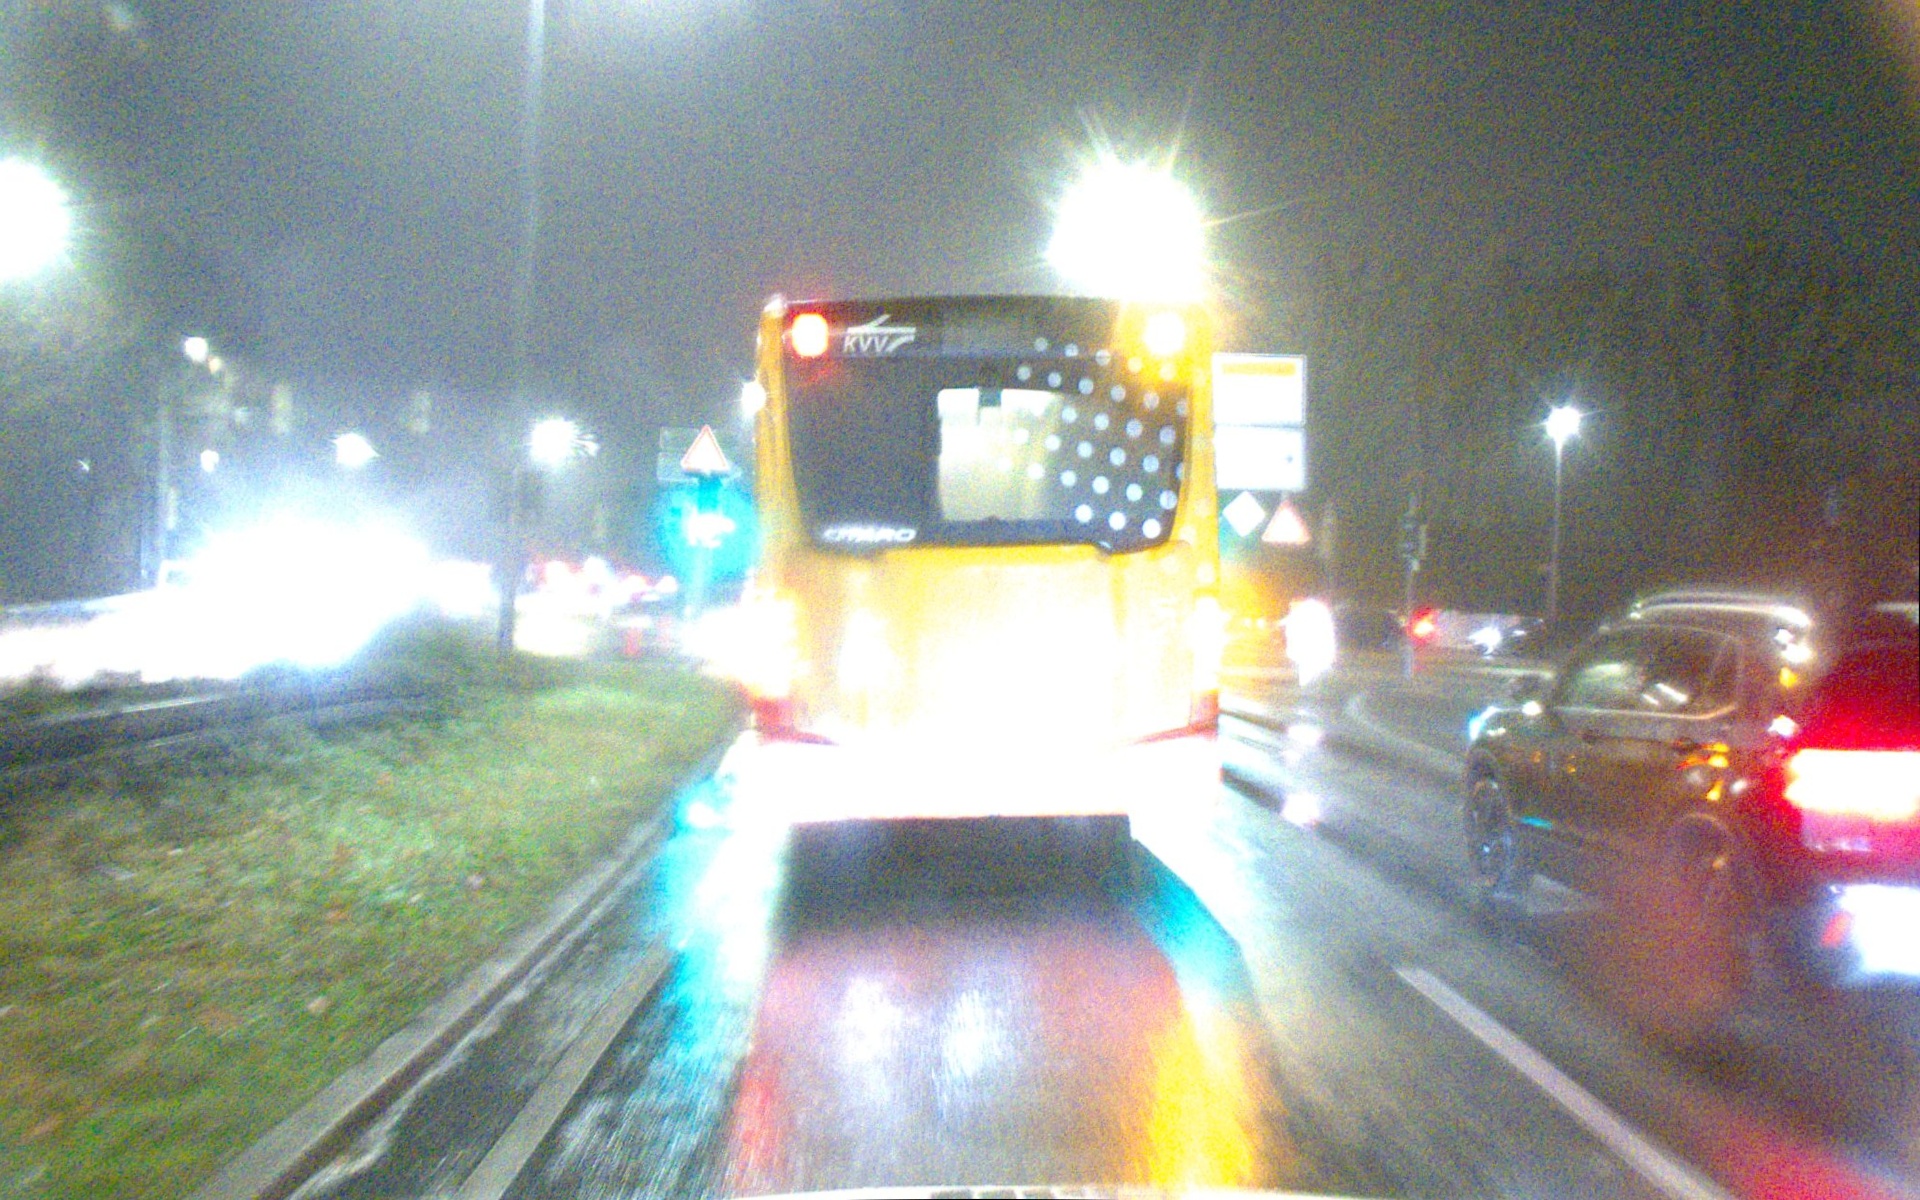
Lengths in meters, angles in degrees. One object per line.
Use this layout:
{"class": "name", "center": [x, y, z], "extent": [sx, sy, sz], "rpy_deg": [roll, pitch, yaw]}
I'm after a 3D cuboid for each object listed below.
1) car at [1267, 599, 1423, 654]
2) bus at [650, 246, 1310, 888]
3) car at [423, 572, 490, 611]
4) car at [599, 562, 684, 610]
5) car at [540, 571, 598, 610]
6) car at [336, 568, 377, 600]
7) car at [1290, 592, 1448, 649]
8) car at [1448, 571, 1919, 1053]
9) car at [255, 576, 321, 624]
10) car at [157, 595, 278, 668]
{"class": "car", "center": [10.989, 0.751, 47.347], "extent": [3.964, 1.369, 1.745], "rpy_deg": [2, 1, -6]}
{"class": "bus", "center": [-0.166, -0.236, 12.870], "extent": [3.220, 3.103, 9.538], "rpy_deg": [0, 1, -4]}
{"class": "car", "center": [-24.551, -0.446, 80.641], "extent": [2.070, 1.672, 3.687], "rpy_deg": [6, -2, -33]}
{"class": "car", "center": [-11.676, -0.516, 60.499], "extent": [1.797, 1.646, 3.959], "rpy_deg": [2, -1, -30]}
{"class": "car", "center": [-17.376, -0.413, 73.404], "extent": [1.792, 1.646, 3.970], "rpy_deg": [2, -1, -24]}
{"class": "car", "center": [-34.716, -0.898, 95.075], "extent": [1.966, 1.751, 3.972], "rpy_deg": [2, -1, -23]}
{"class": "car", "center": [12.786, 0.632, 51.822], "extent": [4.396, 1.545, 1.855], "rpy_deg": [2, 1, -6]}
{"class": "car", "center": [3.614, 0.730, 7.357], "extent": [1.643, 1.548, 3.959], "rpy_deg": [2, -1, -1]}
{"class": "car", "center": [-21.914, -0.033, 54.048], "extent": [1.763, 1.482, 4.552], "rpy_deg": [-1, 1, -19]}
{"class": "car", "center": [-16.718, 0.684, 37.411], "extent": [1.704, 1.522, 3.928], "rpy_deg": [-1, 0, -12]}
